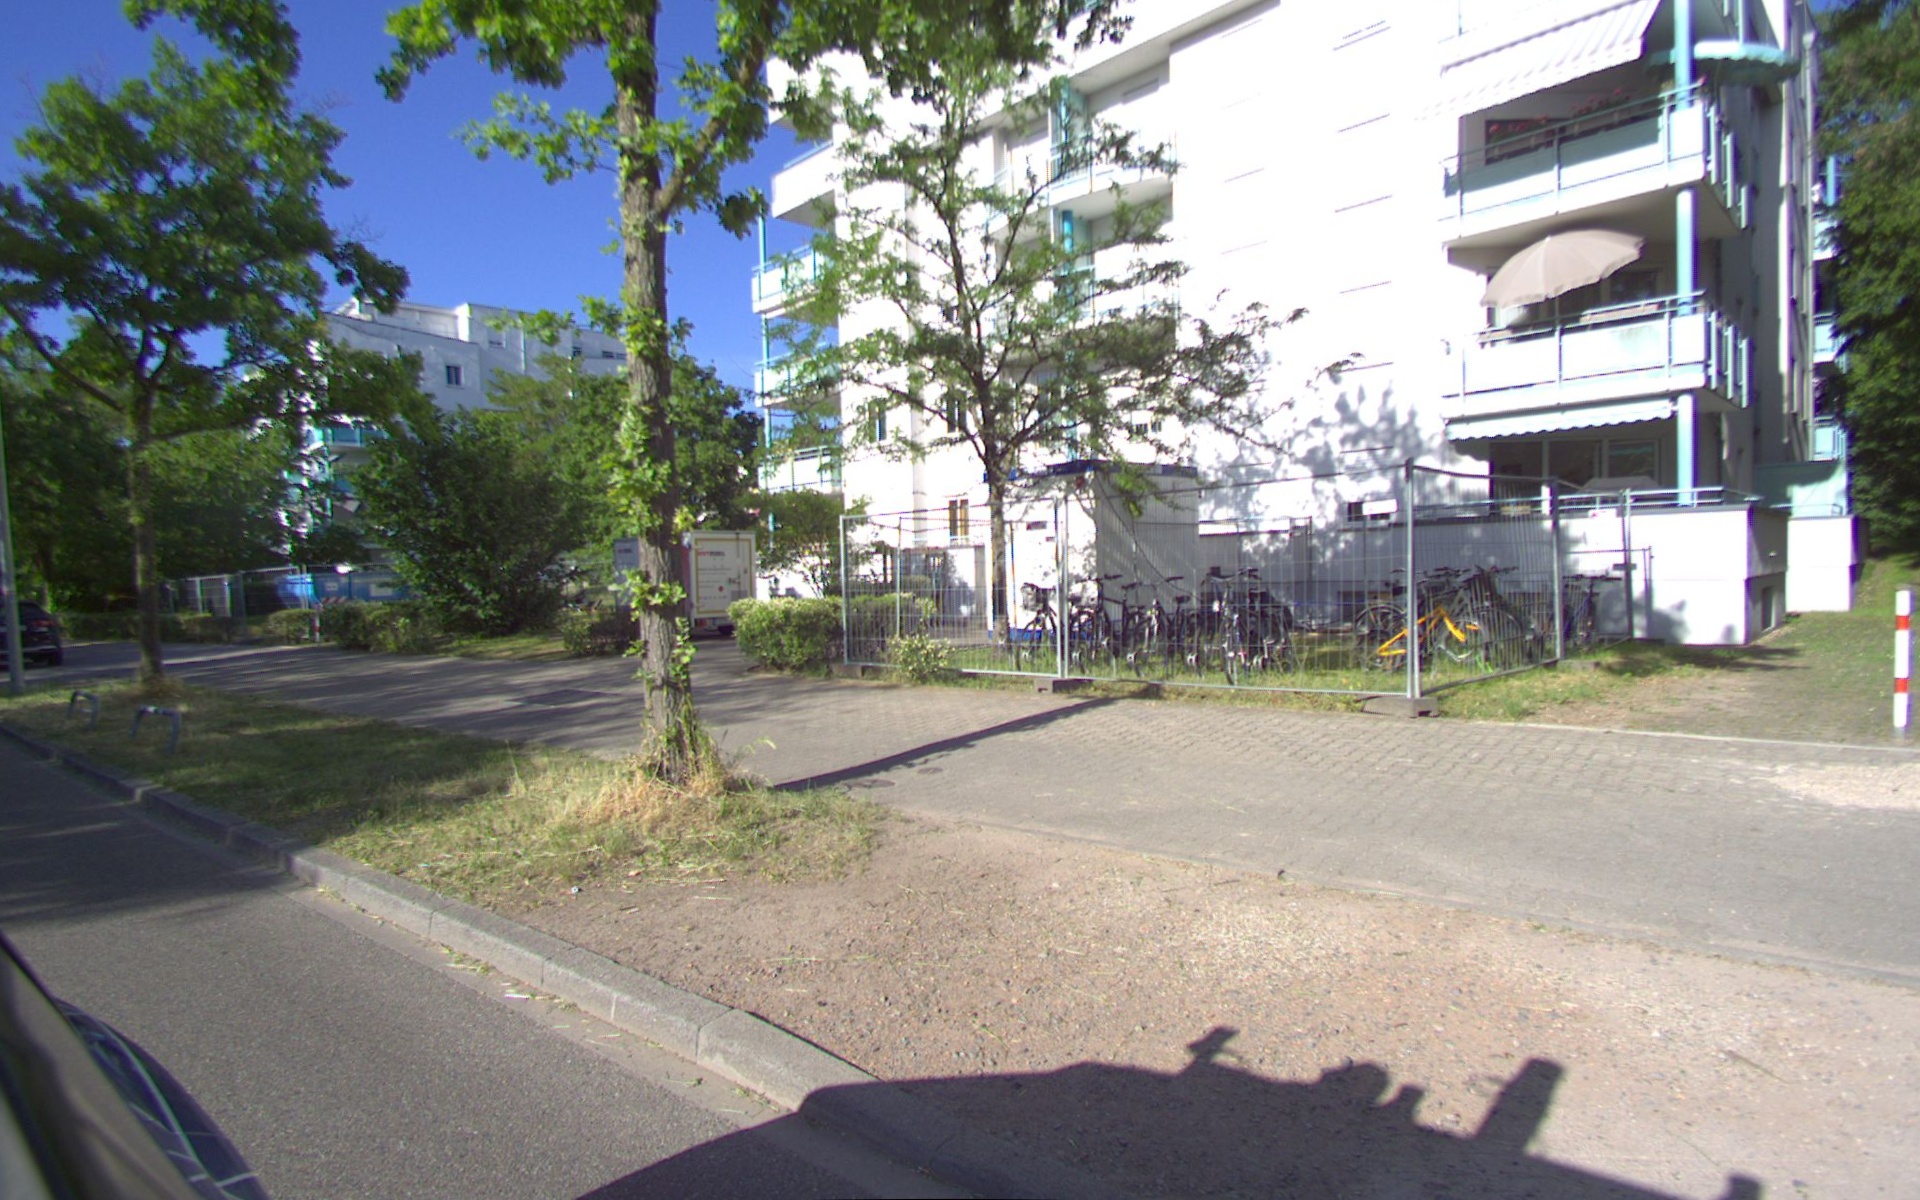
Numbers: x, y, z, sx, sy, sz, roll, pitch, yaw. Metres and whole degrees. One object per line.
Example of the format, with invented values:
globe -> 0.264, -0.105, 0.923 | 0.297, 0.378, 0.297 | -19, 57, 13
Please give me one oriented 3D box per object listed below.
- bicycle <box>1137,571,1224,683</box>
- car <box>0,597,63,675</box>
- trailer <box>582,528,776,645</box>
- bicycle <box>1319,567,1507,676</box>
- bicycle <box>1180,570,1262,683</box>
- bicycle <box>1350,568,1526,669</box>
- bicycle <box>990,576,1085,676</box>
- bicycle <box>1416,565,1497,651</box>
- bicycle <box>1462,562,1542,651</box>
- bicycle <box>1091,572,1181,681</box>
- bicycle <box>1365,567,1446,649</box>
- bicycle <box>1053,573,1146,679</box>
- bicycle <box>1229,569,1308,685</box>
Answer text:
bicycle -> 2.340, 0.235, 10.588 | 0.398, 1.034, 1.848 | -1, 2, 27
car -> -22.474, 0.843, 23.526 | 4.217, 1.633, 1.758 | -1, 4, 41
trailer -> -5.930, -0.279, 21.102 | 4.347, 2.135, 1.843 | -1, 4, 44
bicycle -> 4.583, 0.199, 10.308 | 1.699, 1.034, 0.395 | 0, 2, 40
bicycle -> 2.707, 0.226, 10.369 | 0.398, 1.034, 1.827 | -1, 2, 27
bicycle -> 5.210, 0.185, 11.104 | 1.700, 1.034, 0.395 | 0, 2, 43
bicycle -> 0.947, 0.263, 11.860 | 0.398, 1.034, 1.858 | -1, 2, 27
bicycle -> 6.556, 0.078, 13.323 | 1.675, 1.034, 0.401 | -3, 3, -44
bicycle -> 6.937, 0.057, 12.917 | 1.675, 1.034, 0.401 | -3, 3, -44
bicycle -> 1.913, 0.241, 10.813 | 0.398, 1.034, 1.827 | -1, 2, 27
bicycle -> 6.114, 0.081, 13.847 | 1.675, 1.034, 0.401 | -3, 3, -44
bicycle -> 1.572, 0.241, 11.143 | 0.398, 1.034, 1.844 | -1, 2, 27
bicycle -> 3.121, 0.222, 10.139 | 0.398, 1.034, 1.903 | -1, 2, 27
